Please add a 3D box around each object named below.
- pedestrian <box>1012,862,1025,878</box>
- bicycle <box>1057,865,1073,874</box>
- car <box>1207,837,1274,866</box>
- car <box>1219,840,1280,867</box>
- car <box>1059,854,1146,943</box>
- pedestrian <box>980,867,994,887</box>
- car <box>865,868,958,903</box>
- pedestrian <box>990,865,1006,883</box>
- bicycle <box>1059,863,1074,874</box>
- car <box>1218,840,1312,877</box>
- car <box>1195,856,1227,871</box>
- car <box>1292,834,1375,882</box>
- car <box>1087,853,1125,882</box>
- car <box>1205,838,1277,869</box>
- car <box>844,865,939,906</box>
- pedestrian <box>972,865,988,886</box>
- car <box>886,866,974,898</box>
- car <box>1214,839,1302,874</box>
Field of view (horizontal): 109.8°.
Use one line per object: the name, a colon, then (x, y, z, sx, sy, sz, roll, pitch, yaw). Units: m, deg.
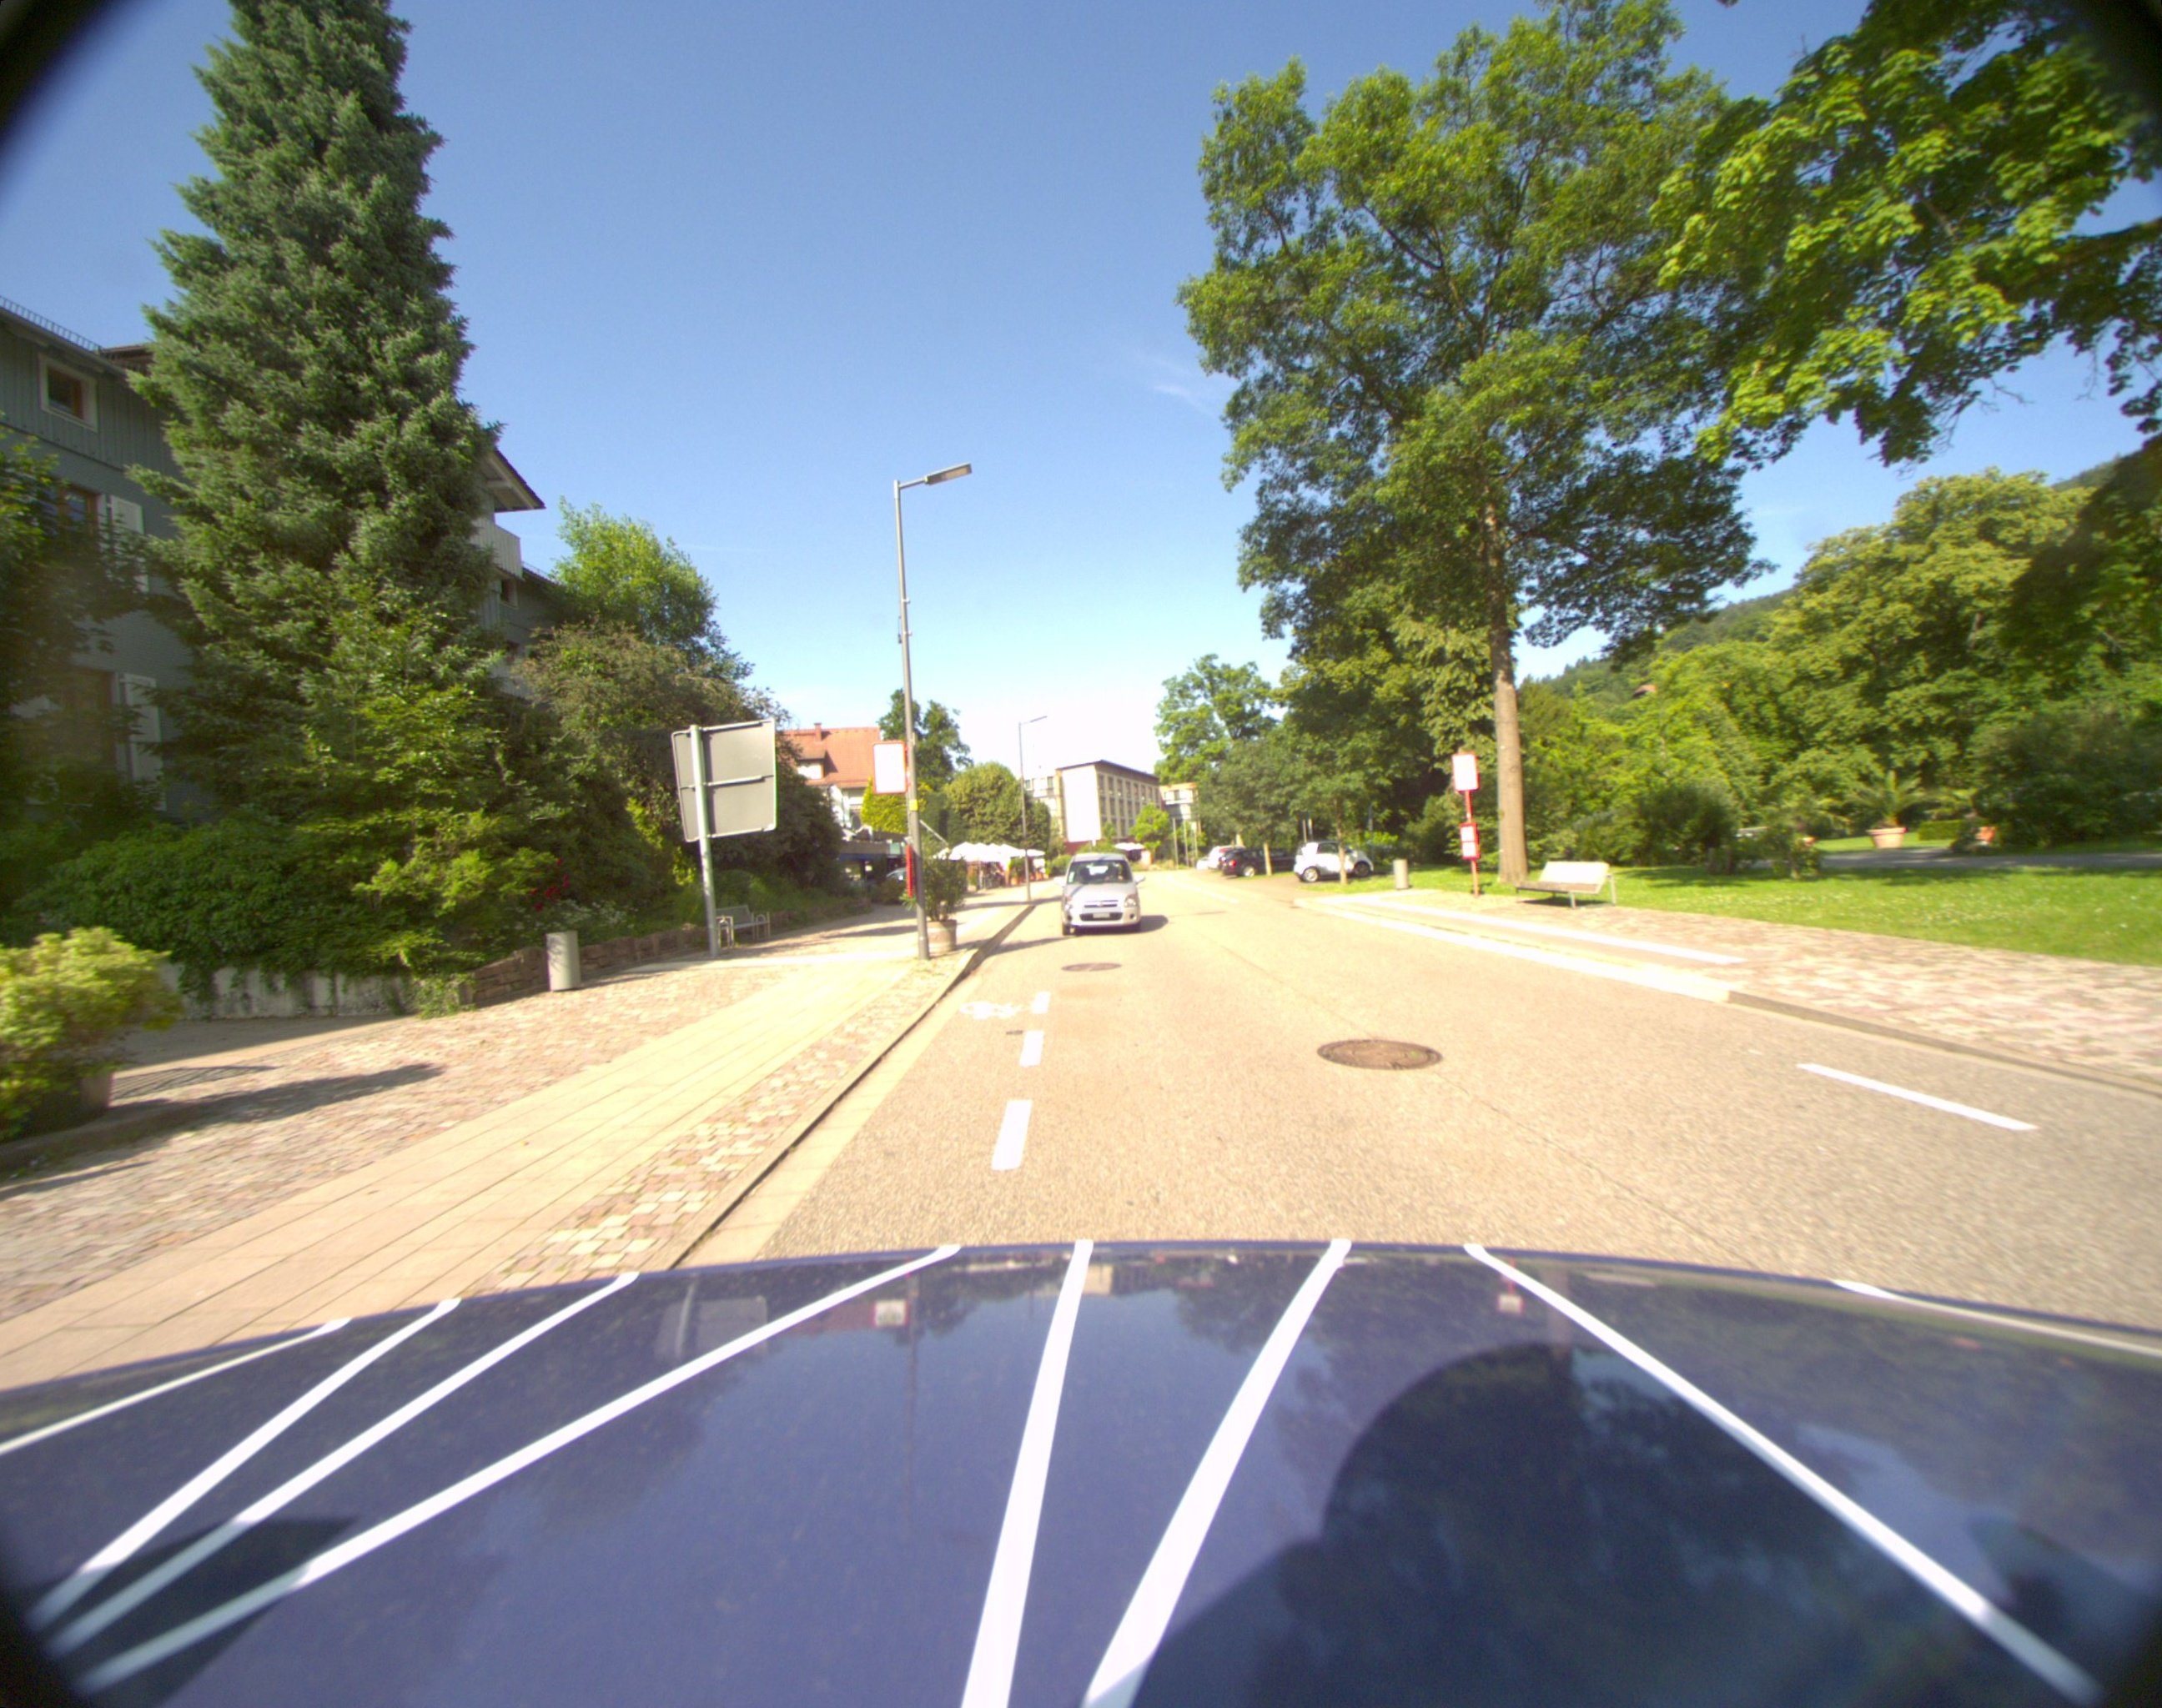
pedestrian: (-5.194, 1.350, 63.035, 0.950, 1.276, 0.645, -3, 0, 0)
bicycle: (-1.534, 1.465, 71.680, 1.544, 0.904, 0.385, -1, 0, 36)
car: (11.812, -0.182, 56.399, 4.493, 1.654, 1.810, -6, 1, 4)
car: (11.917, -0.052, 53.833, 3.995, 1.424, 1.720, -6, 1, 8)
car: (0.384, 0.860, 16.693, 1.605, 1.628, 3.999, -3, 0, -1)
pedestrian: (-6.009, 1.466, 48.605, 0.812, 1.253, 0.700, -3, 0, -7)
car: (-8.457, 1.541, 38.089, 4.119, 1.407, 1.749, -4, 1, 3)
pedestrian: (-5.855, 1.408, 53.587, 0.810, 1.253, 0.701, -3, 0, 21)
bicycle: (-1.384, 1.371, 72.636, 1.544, 0.977, 0.385, -2, 0, 36)
car: (9.457, 0.229, 39.295, 4.288, 1.423, 1.712, -6, 0, -5)
car: (15.852, 1.135, 92.495, 1.652, 1.462, 4.006, -6, 0, 44)
car: (9.771, 0.145, 29.552, 2.656, 1.538, 1.683, -6, 0, 7)
car: (1.540, 0.788, 45.424, 1.739, 1.488, 3.931, -5, 0, 9)
car: (10.690, -0.022, 50.767, 4.491, 1.409, 1.811, -8, 1, 13)
car: (-8.730, 1.418, 35.178, 3.885, 1.571, 1.748, -4, 0, -2)
pedestrian: (-6.663, 1.415, 49.983, 0.701, 1.373, 0.811, -4, 0, -28)
car: (-8.112, 1.483, 41.081, 4.272, 1.371, 1.709, -4, 1, 3)
car: (9.963, 0.139, 43.017, 4.505, 1.501, 1.713, -6, 0, 1)
